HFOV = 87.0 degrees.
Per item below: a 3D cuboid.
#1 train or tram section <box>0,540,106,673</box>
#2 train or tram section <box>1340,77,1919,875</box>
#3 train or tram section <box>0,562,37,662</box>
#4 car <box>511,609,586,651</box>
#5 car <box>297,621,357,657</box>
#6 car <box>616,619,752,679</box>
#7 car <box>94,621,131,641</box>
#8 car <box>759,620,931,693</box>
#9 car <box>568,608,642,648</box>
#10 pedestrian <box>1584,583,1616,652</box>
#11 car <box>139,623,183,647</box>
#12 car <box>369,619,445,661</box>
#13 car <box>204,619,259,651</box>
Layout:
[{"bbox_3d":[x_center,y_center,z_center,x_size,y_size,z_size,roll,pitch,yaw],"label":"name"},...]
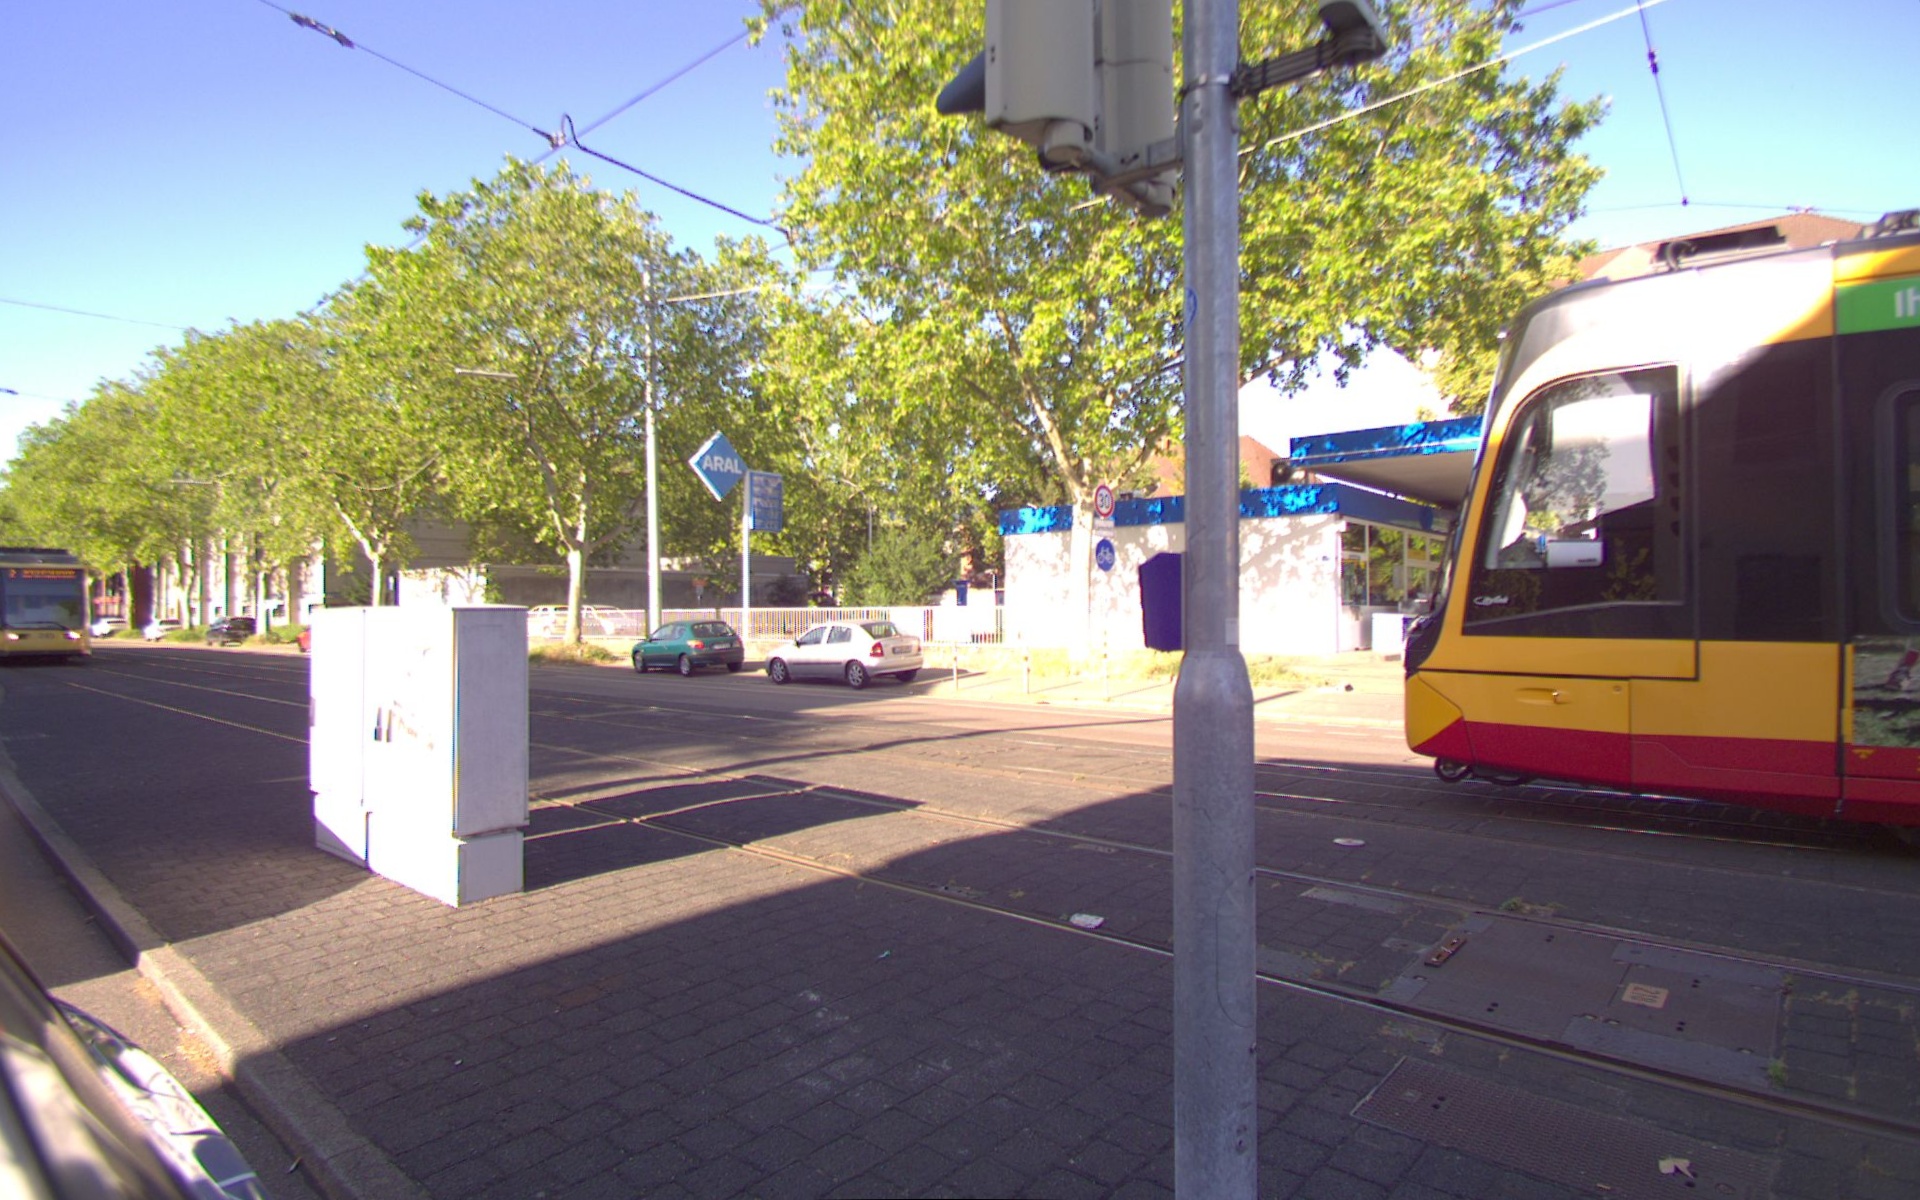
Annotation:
[{"bbox_3d":[-30.740,0.289,32.837,12.646,3.692,2.683,-1,-1,41],"label":"train or tram section"},{"bbox_3d":[8.648,-0.647,4.075,13.009,3.843,2.910,-1,-1,32],"label":"train or tram section"},{"bbox_3d":[-40.331,0.533,41.133,12.646,3.692,2.683,-1,-1,41],"label":"train or tram section"},{"bbox_3d":[-17.079,1.234,41.969,3.303,1.628,1.579,-1,0,41],"label":"car"},{"bbox_3d":[-28.680,1.760,45.829,2.621,1.519,1.579,-1,1,41],"label":"car"},{"bbox_3d":[-7.395,1.268,26.969,3.748,1.413,1.674,-1,1,41],"label":"car"},{"bbox_3d":[-66.670,2.454,79.607,3.748,1.459,1.674,-1,1,41],"label":"car"},{"bbox_3d":[-2.631,1.207,22.640,3.812,1.413,1.674,-1,1,41],"label":"car"},{"bbox_3d":[-15.259,1.199,43.446,3.303,1.604,1.579,-1,0,41],"label":"car"},{"bbox_3d":[16.012,0.437,25.316,0.639,1.714,0.501,1,-2,-43],"label":"pedestrian"},{"bbox_3d":[-53.854,2.349,68.179,3.748,1.459,1.674,-1,1,41],"label":"car"},{"bbox_3d":[-21.871,1.562,40.001,3.303,1.519,1.579,-1,1,41],"label":"car"},{"bbox_3d":[-40.669,1.945,56.453,3.748,1.670,1.674,-1,1,41],"label":"car"}]
